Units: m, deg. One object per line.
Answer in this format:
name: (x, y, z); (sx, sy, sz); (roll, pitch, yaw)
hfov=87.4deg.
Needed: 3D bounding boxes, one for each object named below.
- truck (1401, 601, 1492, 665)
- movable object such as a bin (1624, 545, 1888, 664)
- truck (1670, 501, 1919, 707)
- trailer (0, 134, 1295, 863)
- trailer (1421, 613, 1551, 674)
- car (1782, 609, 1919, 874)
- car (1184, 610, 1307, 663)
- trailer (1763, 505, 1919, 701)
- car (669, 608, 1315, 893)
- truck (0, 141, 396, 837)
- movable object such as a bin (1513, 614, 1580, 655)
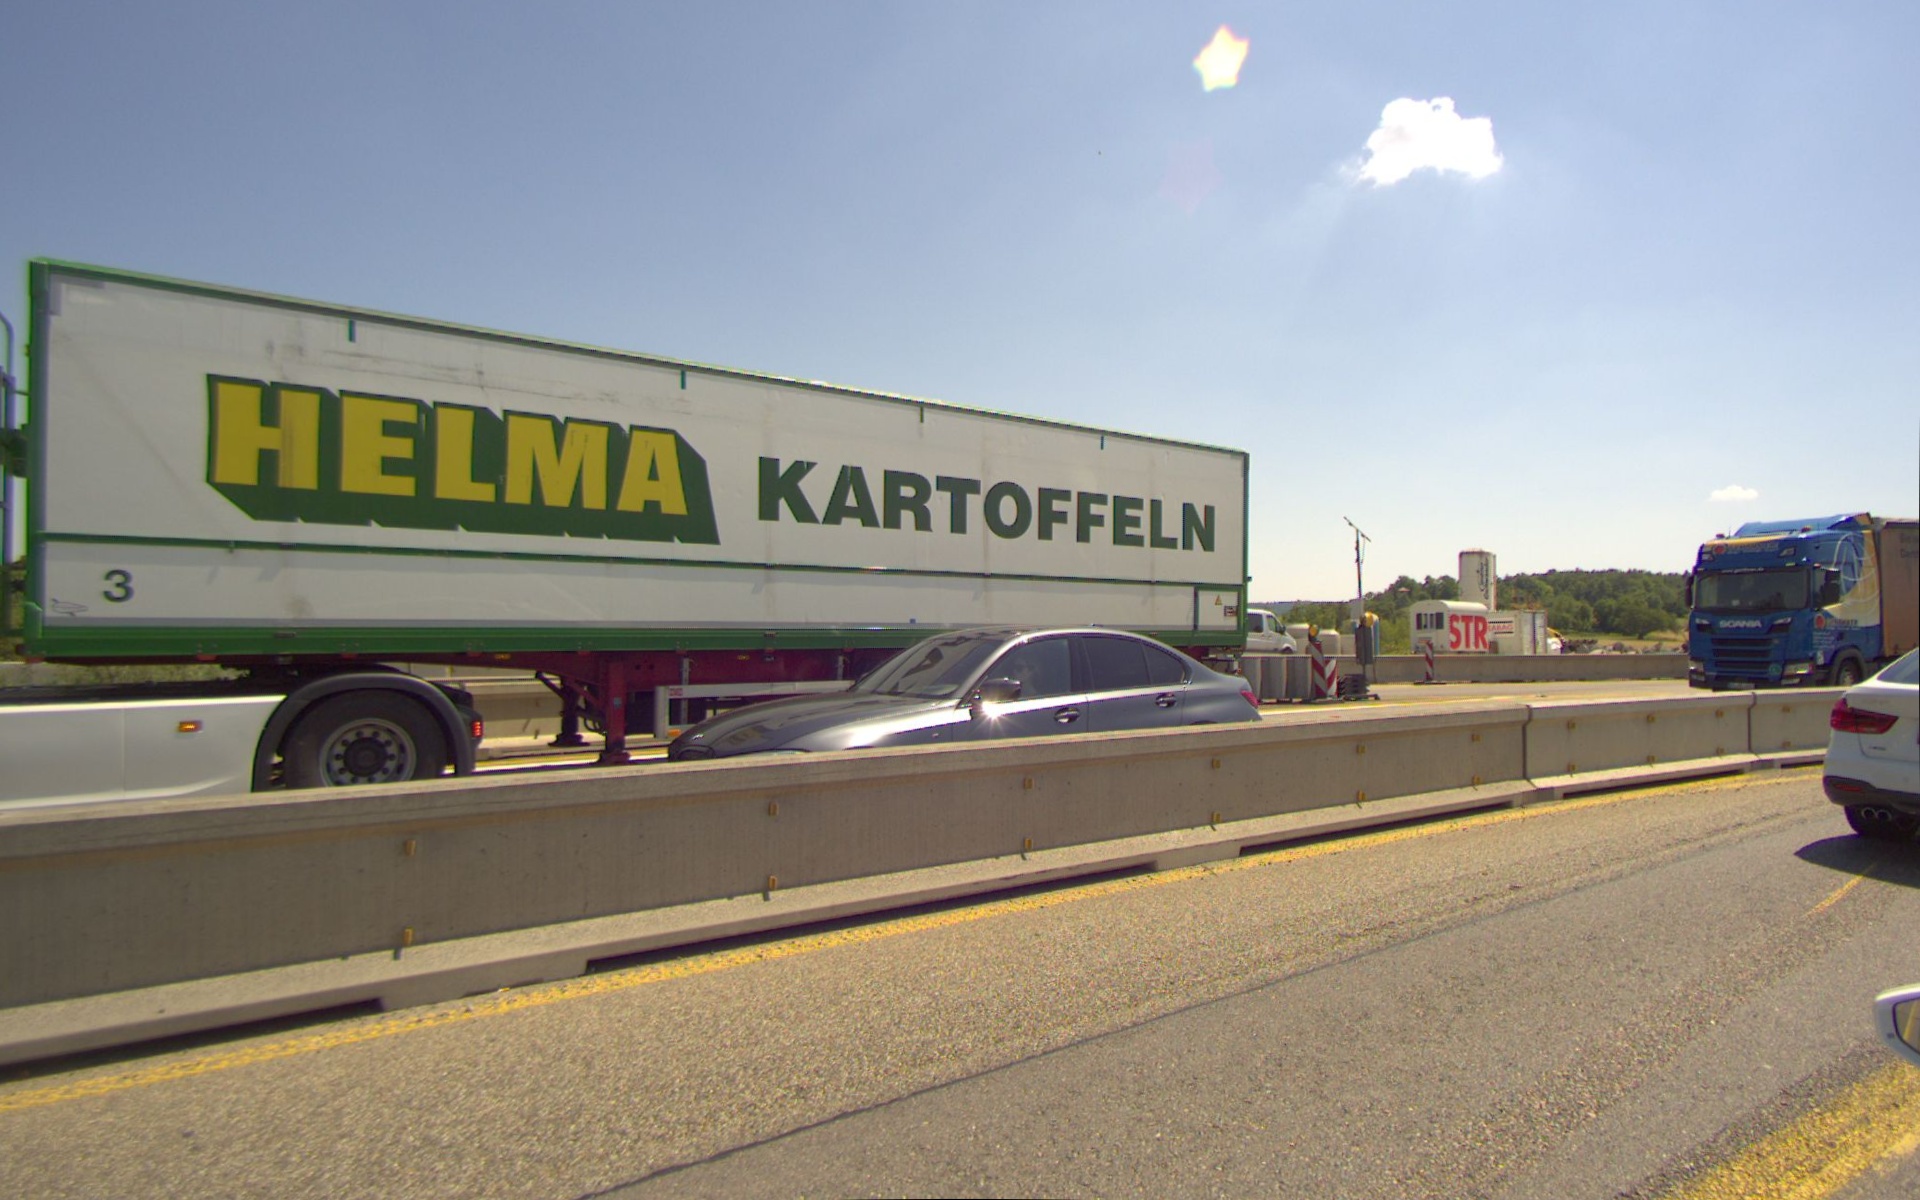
truck: (24.619, 1.635, 50.765); (4.221, 3.084, 2.326); (1, 0, -34)
movable object such as a bin: (31.890, 0.228, 40.356); (9.159, 4.387, 2.928); (1, 0, -10)
truck: (19.016, 0.144, 22.435); (5.464, 4.135, 2.540); (1, 0, -22)
trailer: (-1.675, -0.464, 9.852); (12.369, 4.207, 2.339); (2, 0, -34)
trailer: (28.241, 2.273, 54.120); (2.853, 3.037, 5.529); (1, 0, -33)
car: (7.986, 0.902, 6.941); (5.010, 1.555, 1.788); (2, 0, -28)
car: (11.802, 1.484, 41.408); (5.060, 2.043, 2.191); (2, 0, -35)
trailer: (25.742, 0.215, 24.965); (12.863, 4.207, 2.584); (1, 0, -20)
car: (0.380, 0.861, 7.299); (4.486, 1.497, 1.744); (2, 0, -32)
truck: (-6.733, -0.664, 6.560); (5.028, 4.061, 2.431); (1, 0, -36)
movable object such as a bin: (47.712, 2.767, 81.784); (4.404, 3.182, 1.997); (1, 0, -9)
